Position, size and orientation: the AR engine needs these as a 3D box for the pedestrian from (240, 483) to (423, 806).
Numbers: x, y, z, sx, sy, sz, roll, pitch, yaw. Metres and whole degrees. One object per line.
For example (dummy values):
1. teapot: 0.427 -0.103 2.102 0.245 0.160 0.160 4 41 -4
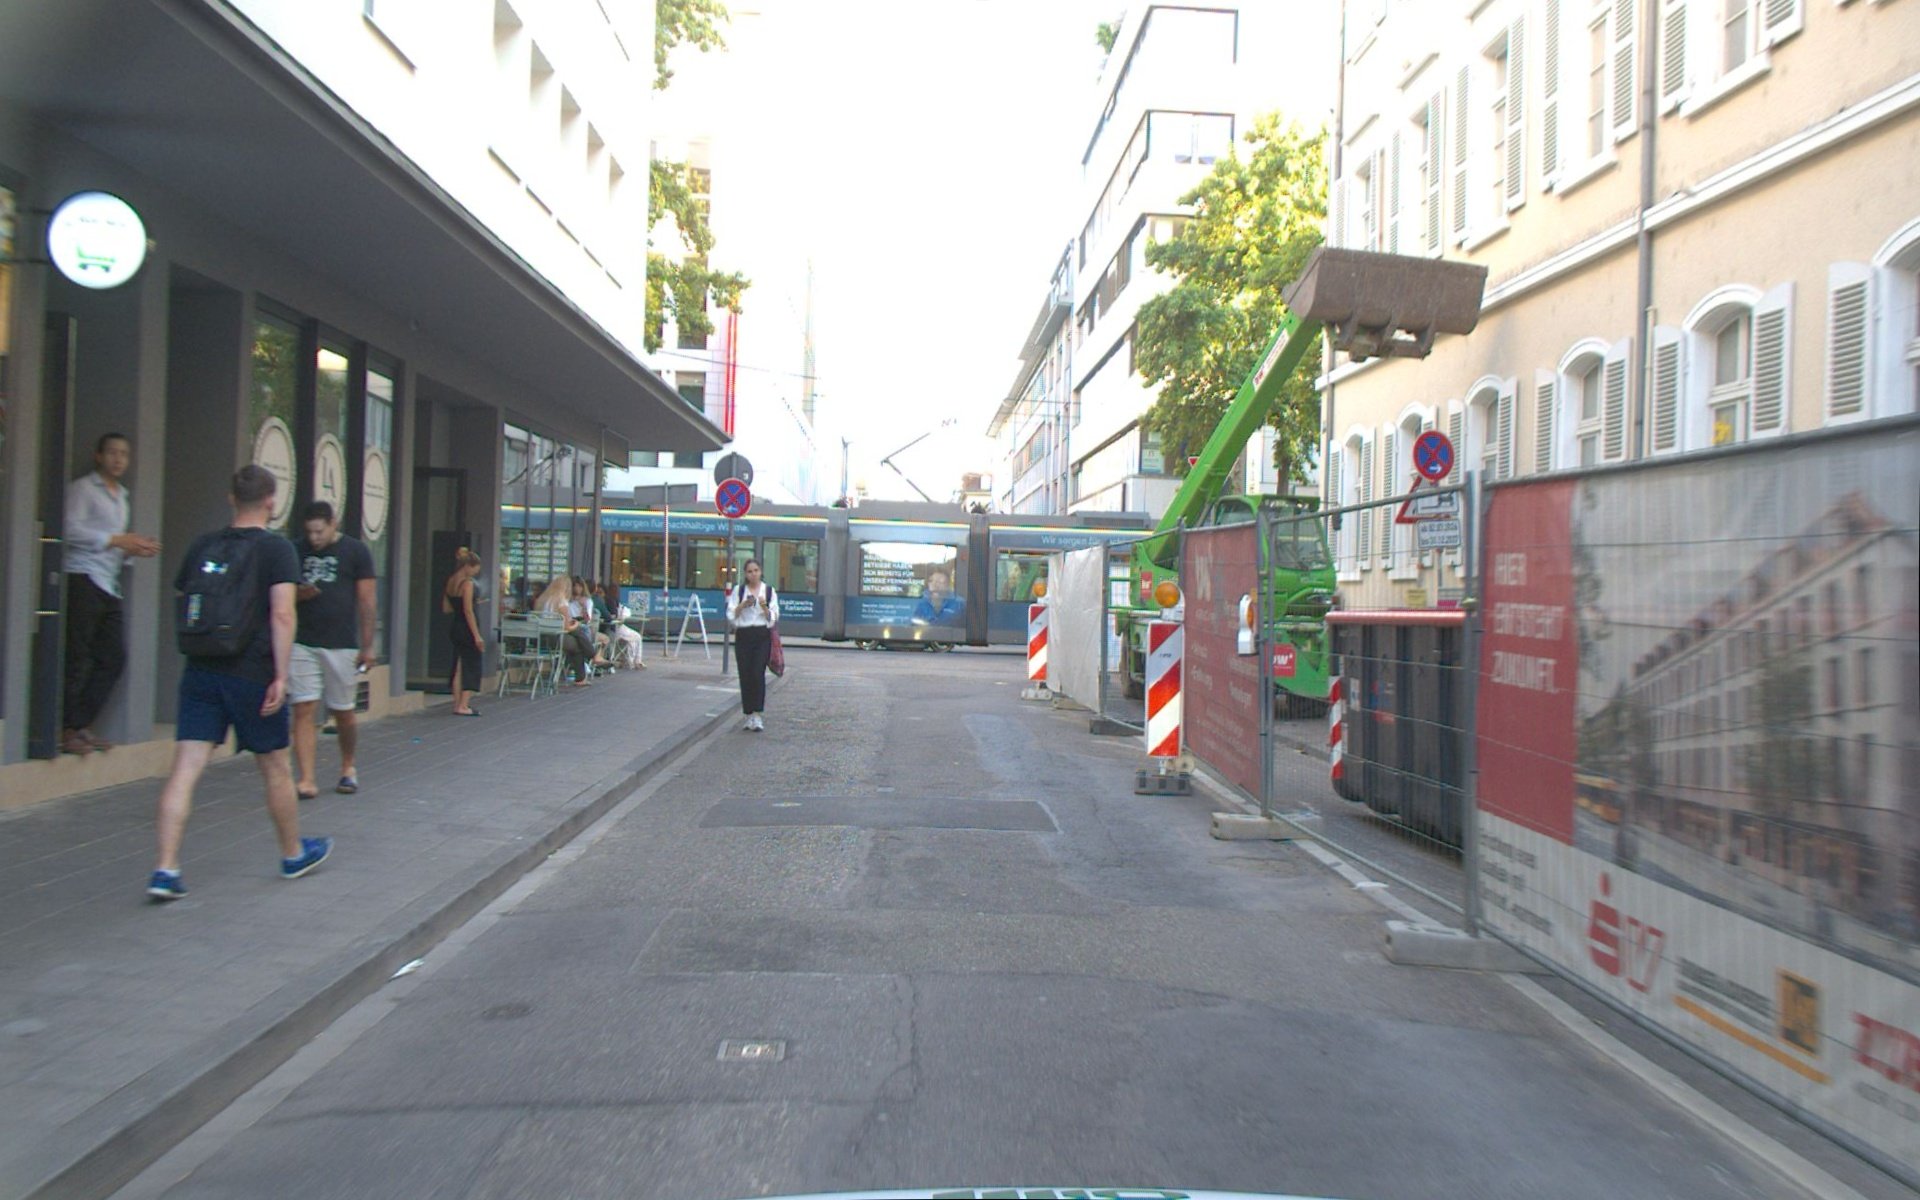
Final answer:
1. pedestrian: -3.737 0.254 9.905 0.690 1.813 0.932 2 0 -2

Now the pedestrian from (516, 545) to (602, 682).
1. pedestrian: -4.783 0.163 19.791 0.689 1.574 0.861 2 0 5

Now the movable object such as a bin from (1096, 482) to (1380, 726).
1. movable object such as a bin: 3.611 0.037 22.844 2.583 2.923 5.560 1 0 -4

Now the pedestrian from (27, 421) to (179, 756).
1. pedestrian: -4.890 -0.064 9.463 0.533 1.842 0.613 1 0 -2

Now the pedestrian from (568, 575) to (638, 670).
1. pedestrian: -4.881 0.300 22.646 0.690 1.216 0.691 5 0 1

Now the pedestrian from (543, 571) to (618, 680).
1. pedestrian: -4.775 0.314 20.774 0.695 1.308 0.854 2 0 -26

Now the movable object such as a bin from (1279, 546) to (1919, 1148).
1. movable object such as a bin: 3.920 0.670 8.267 2.833 1.694 7.289 1 1 -3

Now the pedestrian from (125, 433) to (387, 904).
1. pedestrian: -2.925 0.268 6.965 0.700 1.842 0.932 1 0 -2

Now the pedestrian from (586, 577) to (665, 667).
1. pedestrian: -4.841 0.318 23.945 0.692 1.240 0.839 2 0 35

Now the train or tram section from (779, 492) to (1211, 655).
1. train or tram section: 0.799 -0.606 40.485 10.129 3.585 3.025 1 -1 -3

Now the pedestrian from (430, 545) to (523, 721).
1. pedestrian: -4.538 0.305 15.506 0.649 1.597 0.632 3 0 -28

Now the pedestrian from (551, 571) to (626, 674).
1. pedestrian: -4.881 0.292 21.780 0.690 1.261 0.778 5 0 1

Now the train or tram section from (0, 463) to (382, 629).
1. train or tram section: -19.701 -1.262 39.512 10.592 3.585 3.012 2 -1 -2

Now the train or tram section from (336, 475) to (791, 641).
1. train or tram section: -9.342 -0.947 39.988 10.160 3.585 3.016 2 -1 -3

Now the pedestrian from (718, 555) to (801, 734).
1. pedestrian: -2.032 0.443 16.838 0.741 1.770 0.784 0 0 0
